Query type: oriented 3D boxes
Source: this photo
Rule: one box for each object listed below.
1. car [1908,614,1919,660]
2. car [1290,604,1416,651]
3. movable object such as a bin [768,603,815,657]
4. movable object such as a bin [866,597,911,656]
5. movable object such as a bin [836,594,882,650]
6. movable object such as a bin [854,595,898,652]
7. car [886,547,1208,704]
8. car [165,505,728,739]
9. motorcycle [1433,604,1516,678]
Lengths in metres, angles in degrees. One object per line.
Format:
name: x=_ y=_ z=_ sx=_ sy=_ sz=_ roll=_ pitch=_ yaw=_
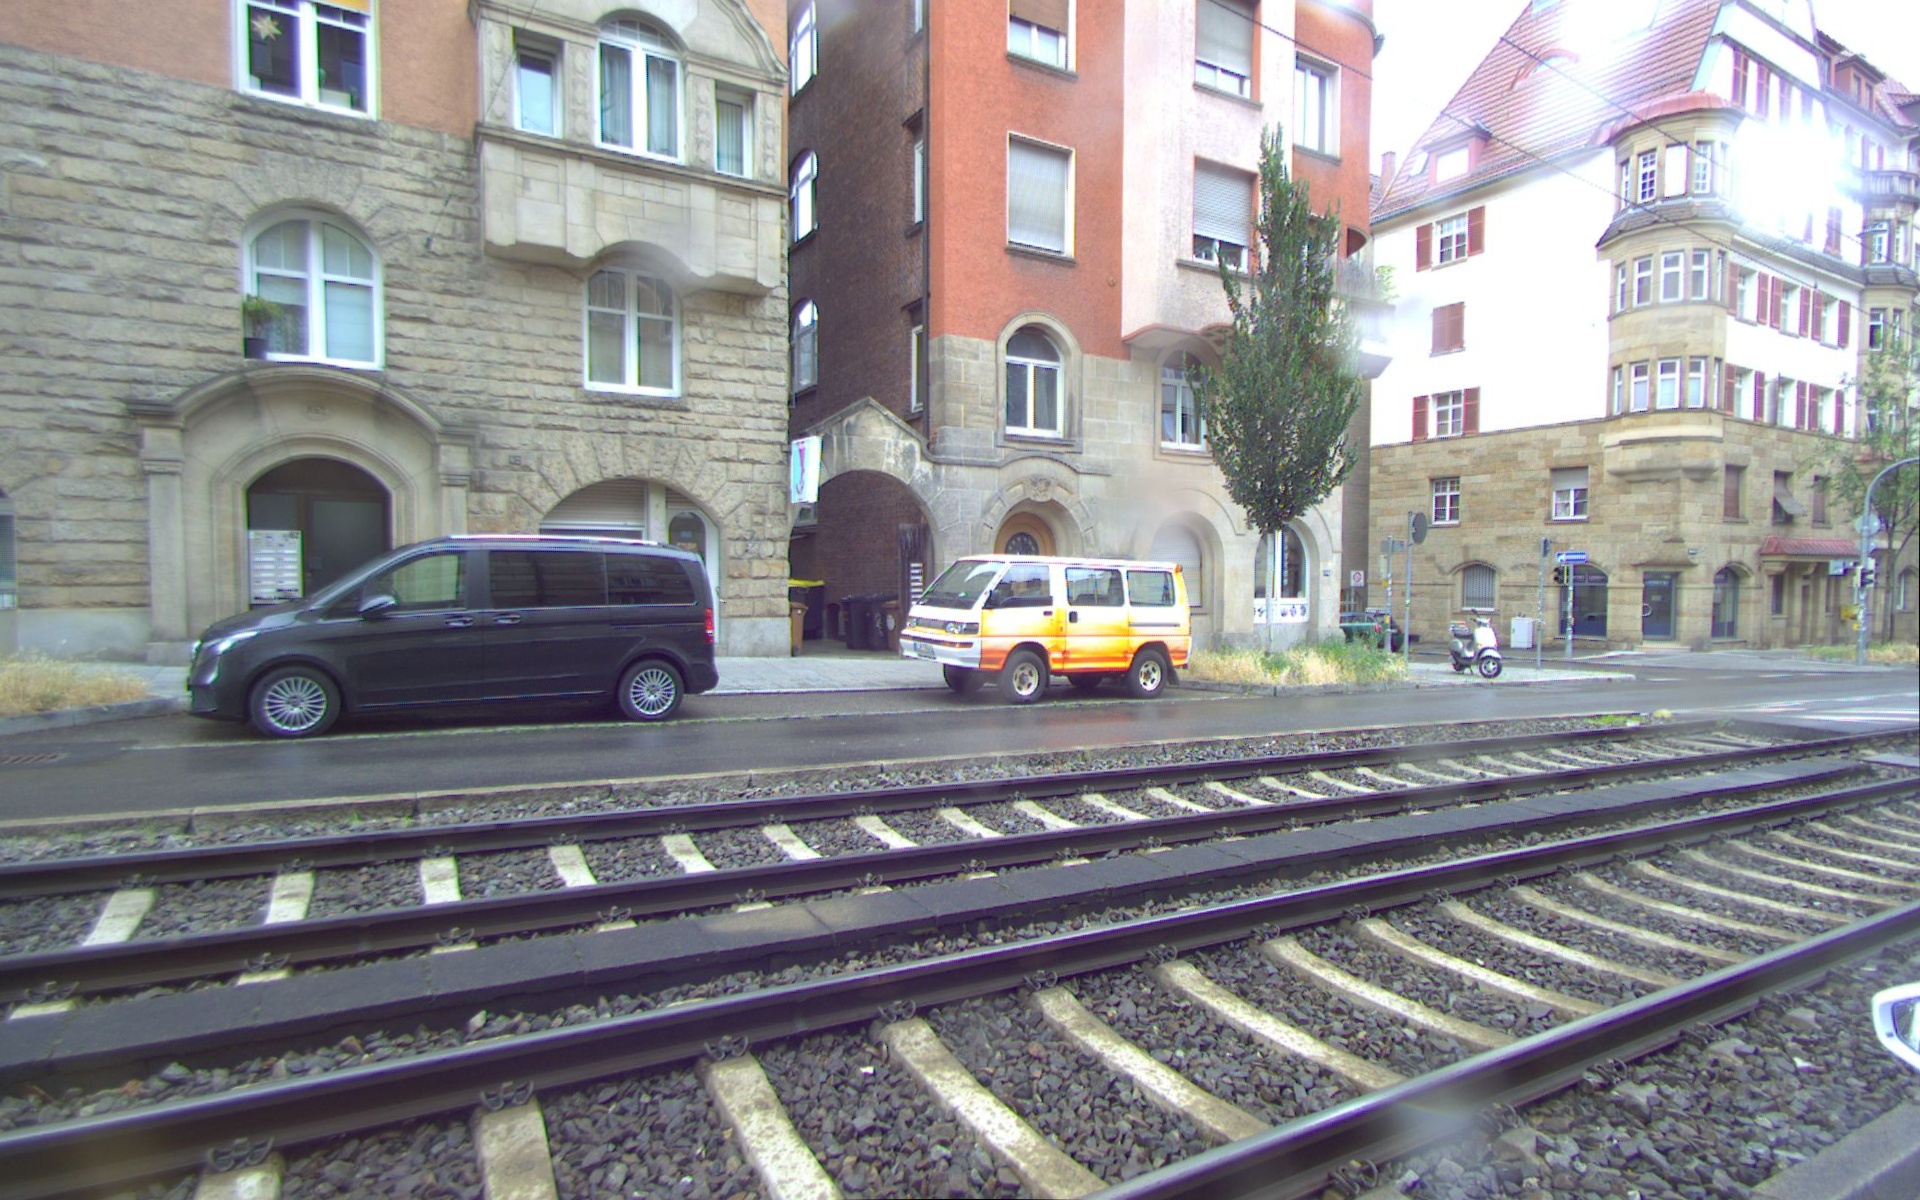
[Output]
car: x=34.200 y=1.305 z=34.296 sx=4.130 sy=1.549 sz=1.680 roll=2 pitch=0 yaw=-32
car: x=14.623 y=0.986 z=37.516 sx=1.979 sy=1.595 sz=3.963 roll=2 pitch=0 yaw=-33
movable object such as a bin: x=-2.939 y=0.516 z=17.511 sx=0.647 sy=0.910 sz=0.544 roll=2 pitch=0 yaw=-27
movable object such as a bin: x=-1.316 y=0.489 z=18.486 sx=0.648 sy=1.058 sz=0.545 roll=2 pitch=0 yaw=-29
movable object such as a bin: x=-1.965 y=0.425 z=19.487 sx=0.648 sy=1.058 sz=0.676 roll=2 pitch=0 yaw=-29
movable object such as a bin: x=-1.593 y=0.441 z=18.973 sx=0.648 sy=1.058 sz=0.545 roll=2 pitch=0 yaw=-29
car: x=1.317 y=0.367 z=14.417 sx=4.426 sy=1.956 sz=1.719 roll=2 pitch=0 yaw=-32
car: x=-5.053 y=0.238 z=10.453 sx=4.777 sy=1.956 sz=1.896 roll=2 pitch=0 yaw=-31
motorcycle: x=10.206 y=0.790 z=19.997 sx=0.752 sy=1.393 sz=1.785 roll=2 pitch=0 yaw=2
